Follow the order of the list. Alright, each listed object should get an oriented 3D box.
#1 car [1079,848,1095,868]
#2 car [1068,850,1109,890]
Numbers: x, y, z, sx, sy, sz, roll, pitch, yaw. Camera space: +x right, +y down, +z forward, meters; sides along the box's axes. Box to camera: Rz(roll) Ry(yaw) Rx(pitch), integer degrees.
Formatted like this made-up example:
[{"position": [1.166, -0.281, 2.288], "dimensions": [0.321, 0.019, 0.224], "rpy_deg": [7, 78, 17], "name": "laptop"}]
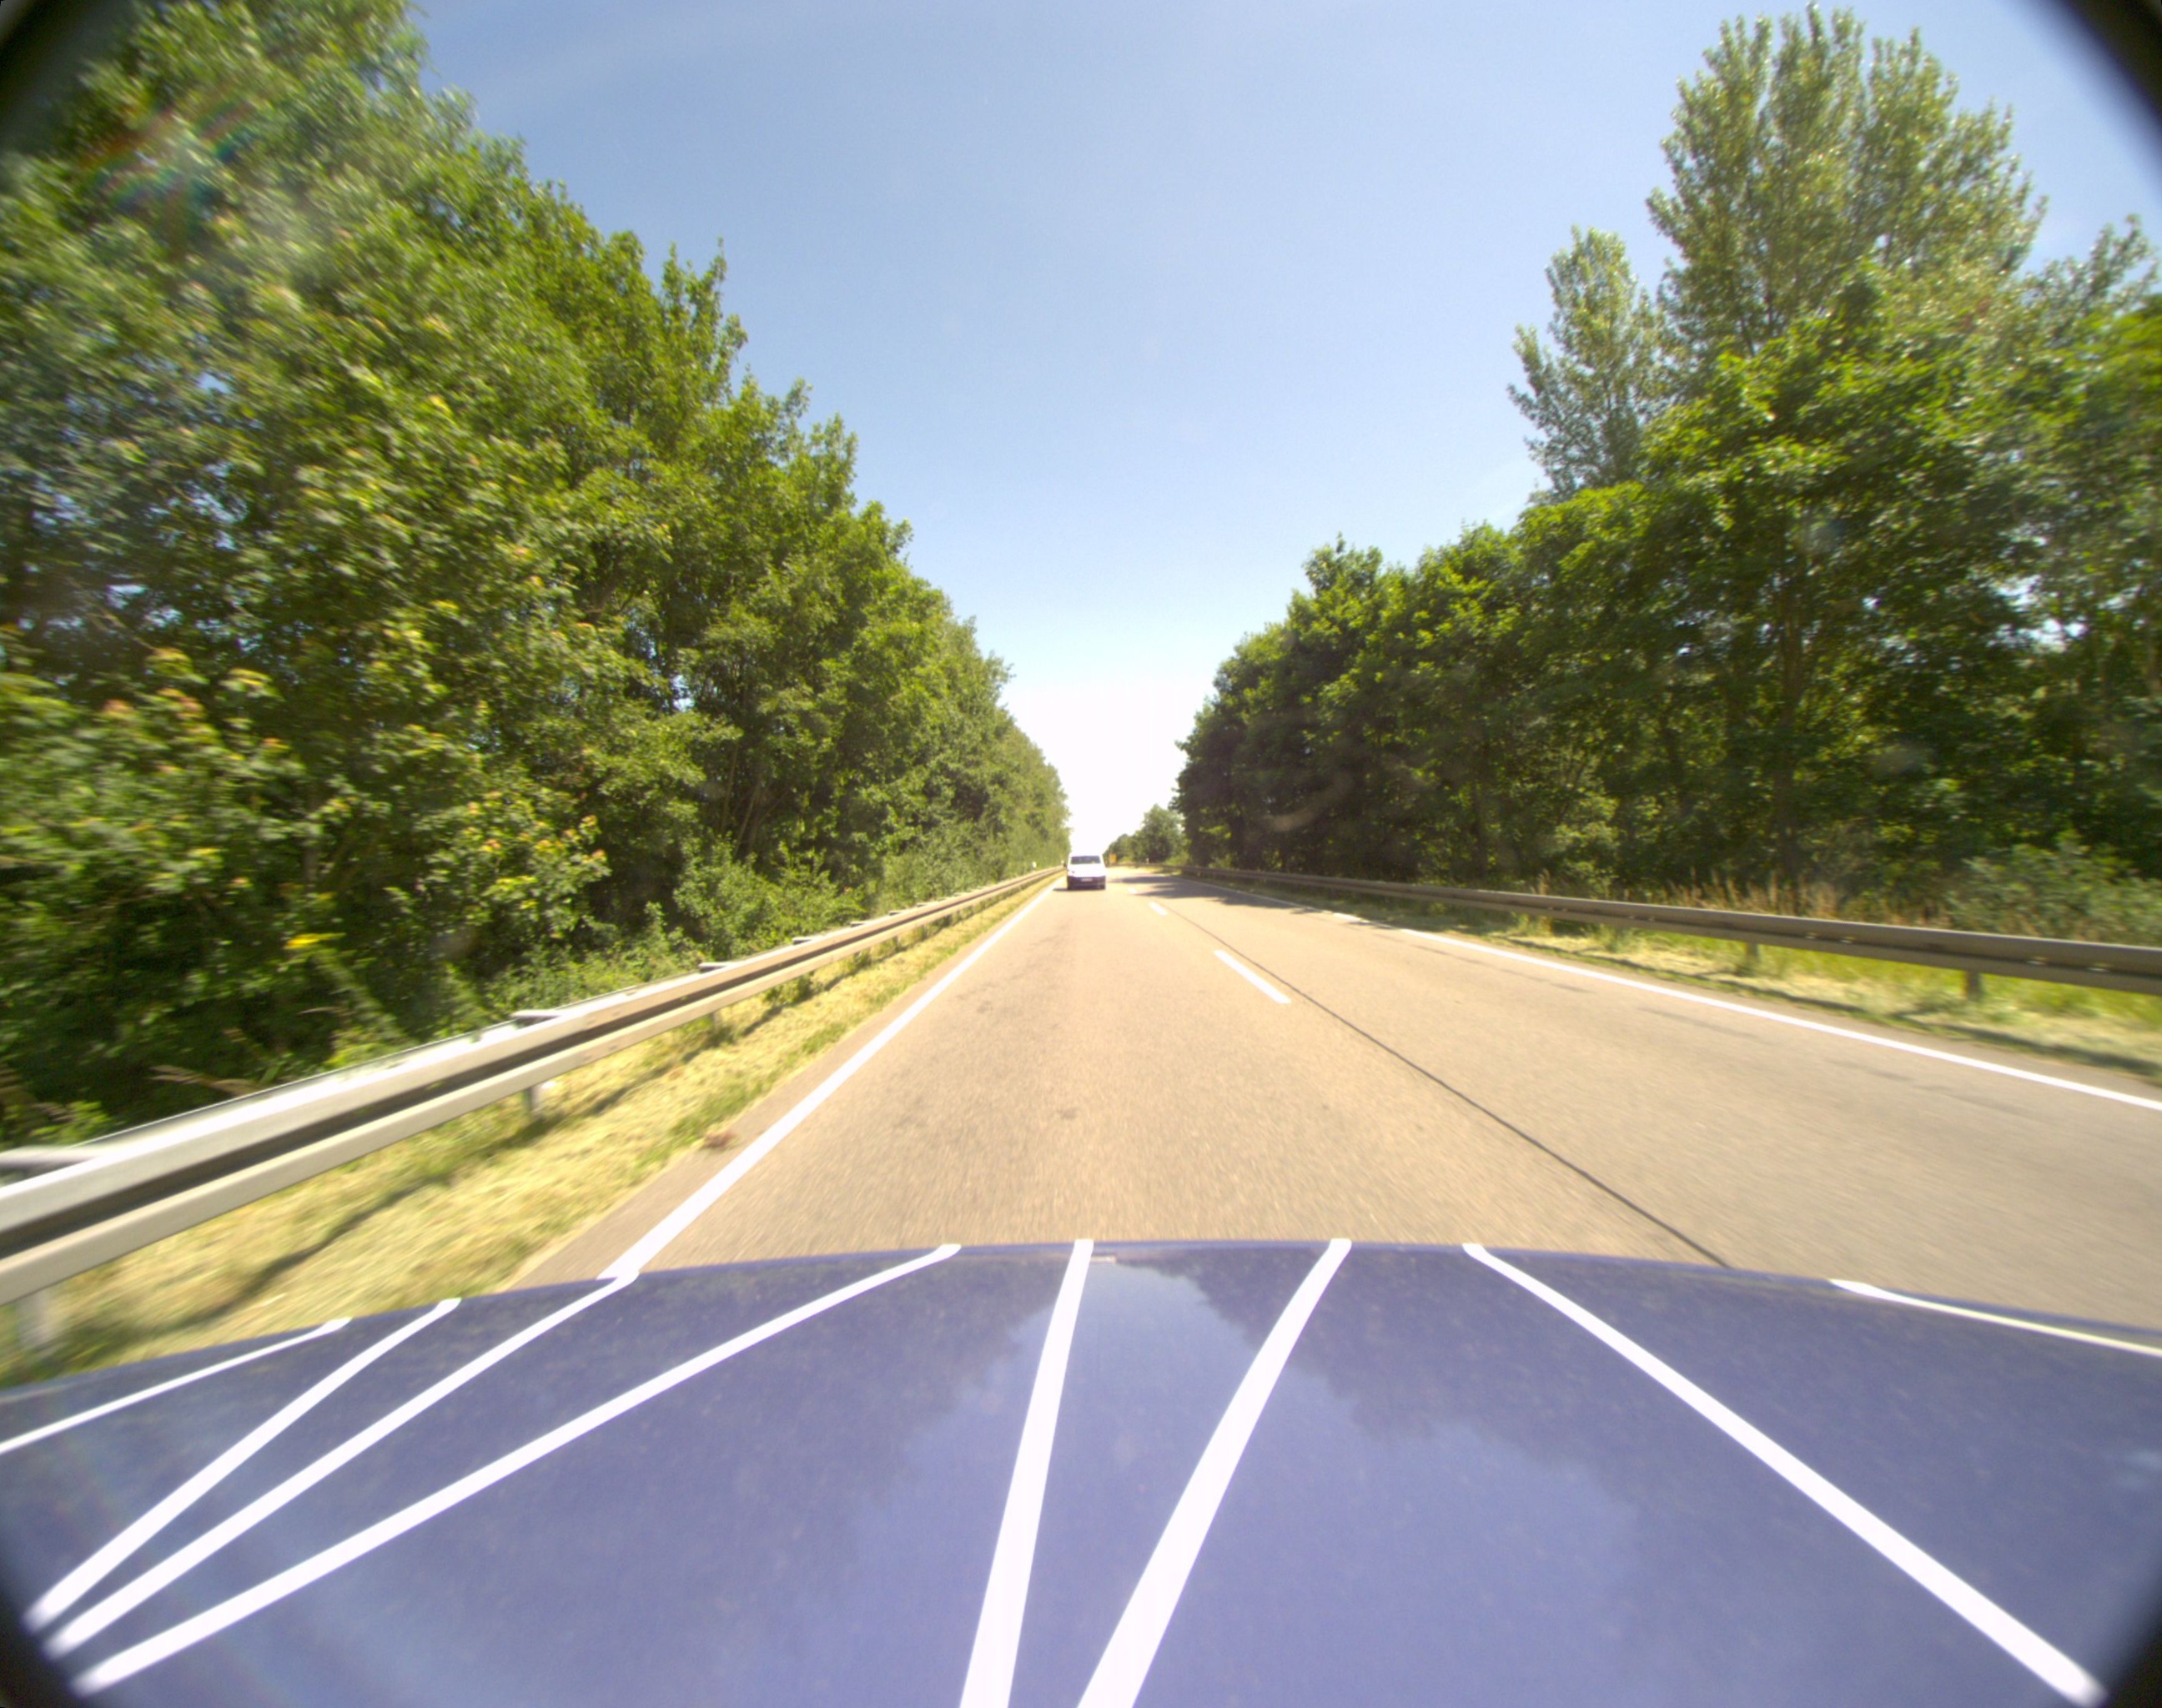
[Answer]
[{"position": [0.704, 0.527, 90.834], "dimensions": [1.782, 2.287, 4.106], "rpy_deg": [-2, -1, 1], "name": "car"}, {"position": [0.358, 0.762, 36.414], "dimensions": [1.782, 1.743, 4.513], "rpy_deg": [-2, -1, 1], "name": "car"}]
